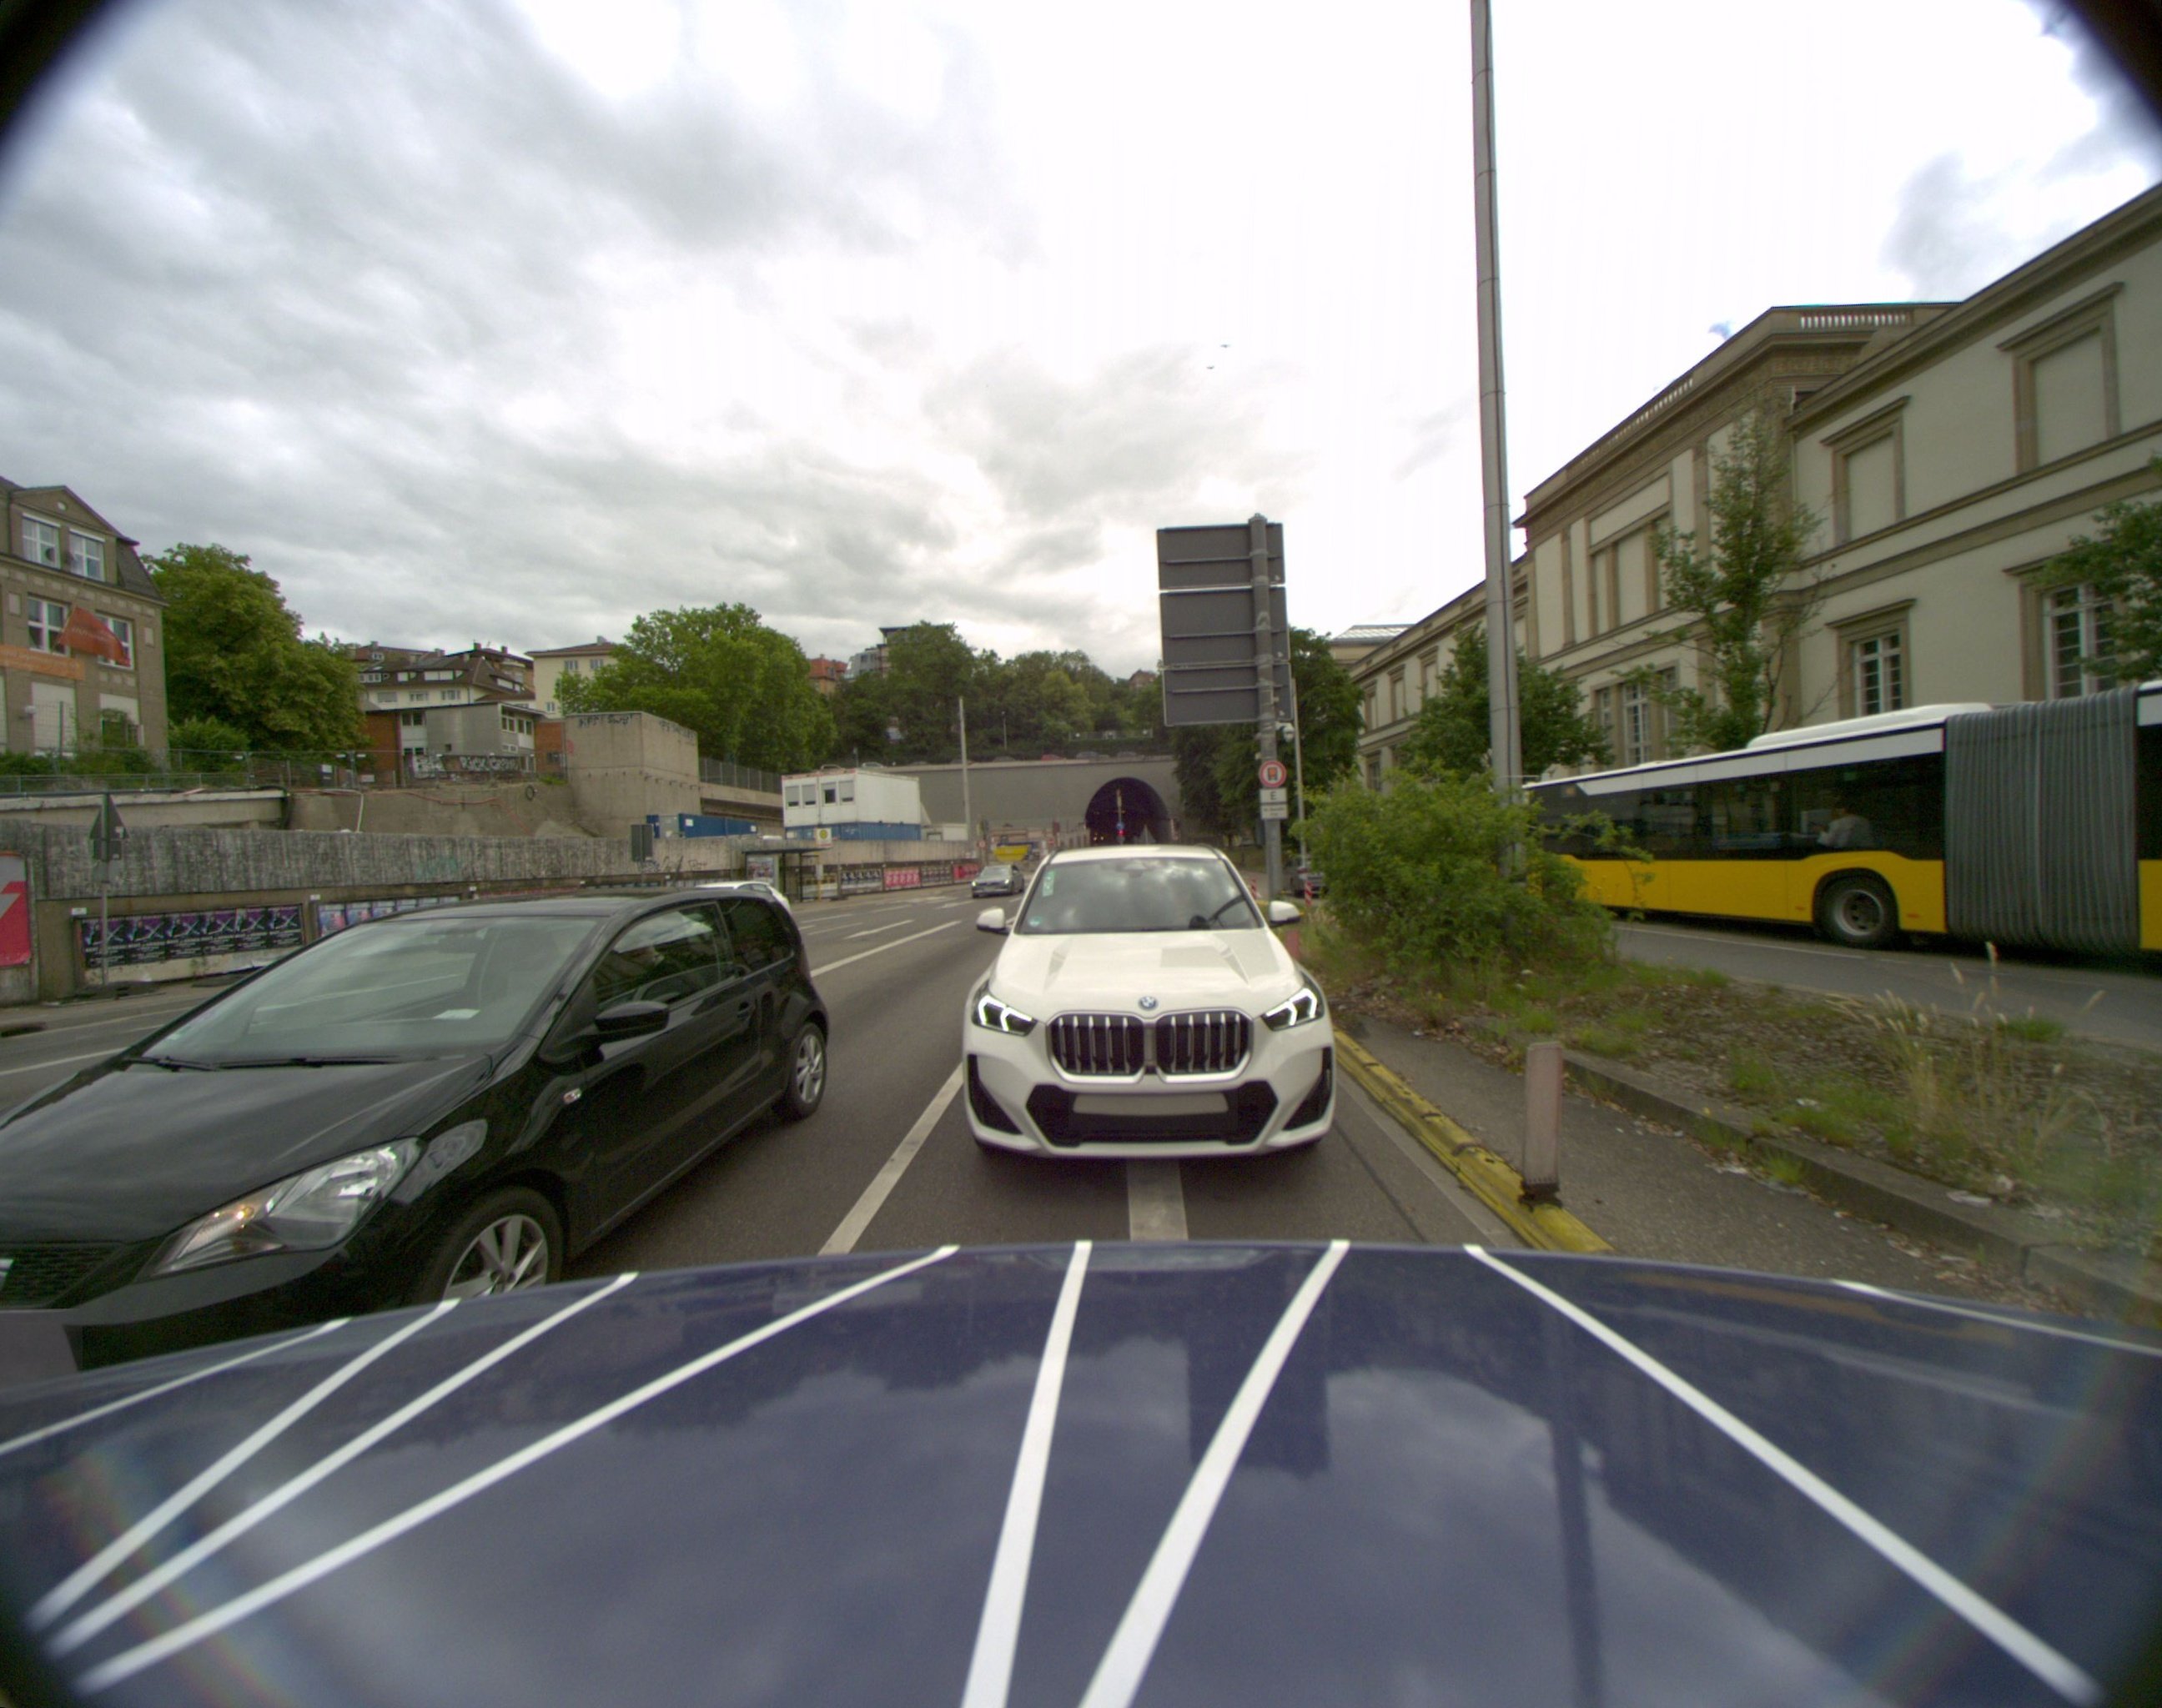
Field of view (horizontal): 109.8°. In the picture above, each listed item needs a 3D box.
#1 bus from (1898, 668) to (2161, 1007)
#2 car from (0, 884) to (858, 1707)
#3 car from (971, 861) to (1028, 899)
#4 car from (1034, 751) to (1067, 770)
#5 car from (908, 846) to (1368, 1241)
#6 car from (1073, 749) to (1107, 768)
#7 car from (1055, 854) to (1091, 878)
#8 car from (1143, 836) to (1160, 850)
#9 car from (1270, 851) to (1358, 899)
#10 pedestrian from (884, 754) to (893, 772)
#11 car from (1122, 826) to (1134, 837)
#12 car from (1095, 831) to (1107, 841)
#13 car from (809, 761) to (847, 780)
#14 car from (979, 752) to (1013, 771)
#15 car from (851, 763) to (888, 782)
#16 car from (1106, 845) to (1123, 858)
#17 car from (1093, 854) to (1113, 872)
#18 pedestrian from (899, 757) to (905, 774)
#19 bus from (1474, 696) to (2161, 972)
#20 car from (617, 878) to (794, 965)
[{"bbox_3d":[11.330,-0.203,4.572,2.853,3.096,9.120,-3,0,-1],"label":"bus"},{"bbox_3d":[-2.501,1.001,3.411,1.667,1.487,3.882,-3,0,2],"label":"car"},{"bbox_3d":[-3.797,1.178,36.224,1.826,1.562,4.655,-3,0,4],"label":"car"},{"bbox_3d":[-3.763,-11.636,94.404,3.998,2.002,1.999,-2,1,-2],"label":"car"},{"bbox_3d":[0.300,0.796,5.121,1.848,1.581,3.882,-3,0,2],"label":"car"},{"bbox_3d":[1.115,-11.816,94.488,3.998,2.002,1.999,-2,1,-2],"label":"car"},{"bbox_3d":[-0.550,0.813,55.171,1.703,1.550,4.554,-3,0,11],"label":"car"},{"bbox_3d":[8.329,-1.237,89.992,1.667,1.582,3.882,-1,0,2],"label":"car"},{"bbox_3d":[7.846,0.641,26.009,1.711,1.505,4.288,0,0,0],"label":"car"},{"bbox_3d":[-22.952,-10.866,90.645,0.851,2.002,0.905,-3,1,-3],"label":"pedestrian"},{"bbox_3d":[7.464,-3.548,120.562,1.667,1.582,3.882,-1,0,2],"label":"car"},{"bbox_3d":[3.343,-2.905,125.129,1.730,1.435,4.001,-3,0,5],"label":"car"},{"bbox_3d":[-31.049,-10.242,93.315,3.998,2.002,1.999,-2,1,-5],"label":"car"},{"bbox_3d":[-10.469,-11.387,94.010,3.998,2.002,1.999,-2,1,-2],"label":"car"},{"bbox_3d":[-25.999,-10.056,93.378,3.998,2.002,1.999,-2,1,-5],"label":"car"},{"bbox_3d":[3.879,-0.294,87.986,1.728,1.310,4.000,-3,0,1],"label":"car"},{"bbox_3d":[1.970,0.823,70.448,1.705,1.550,4.550,-3,0,1],"label":"car"},{"bbox_3d":[-22.414,-11.094,95.060,0.581,2.002,0.577,-2,1,-3],"label":"pedestrian"},{"bbox_3d":[11.185,-0.238,13.778,2.853,3.096,9.747,-3,0,-1],"label":"bus"},{"bbox_3d":[-8.066,1.381,16.783,1.663,1.471,4.000,-3,0,3],"label":"car"}]
